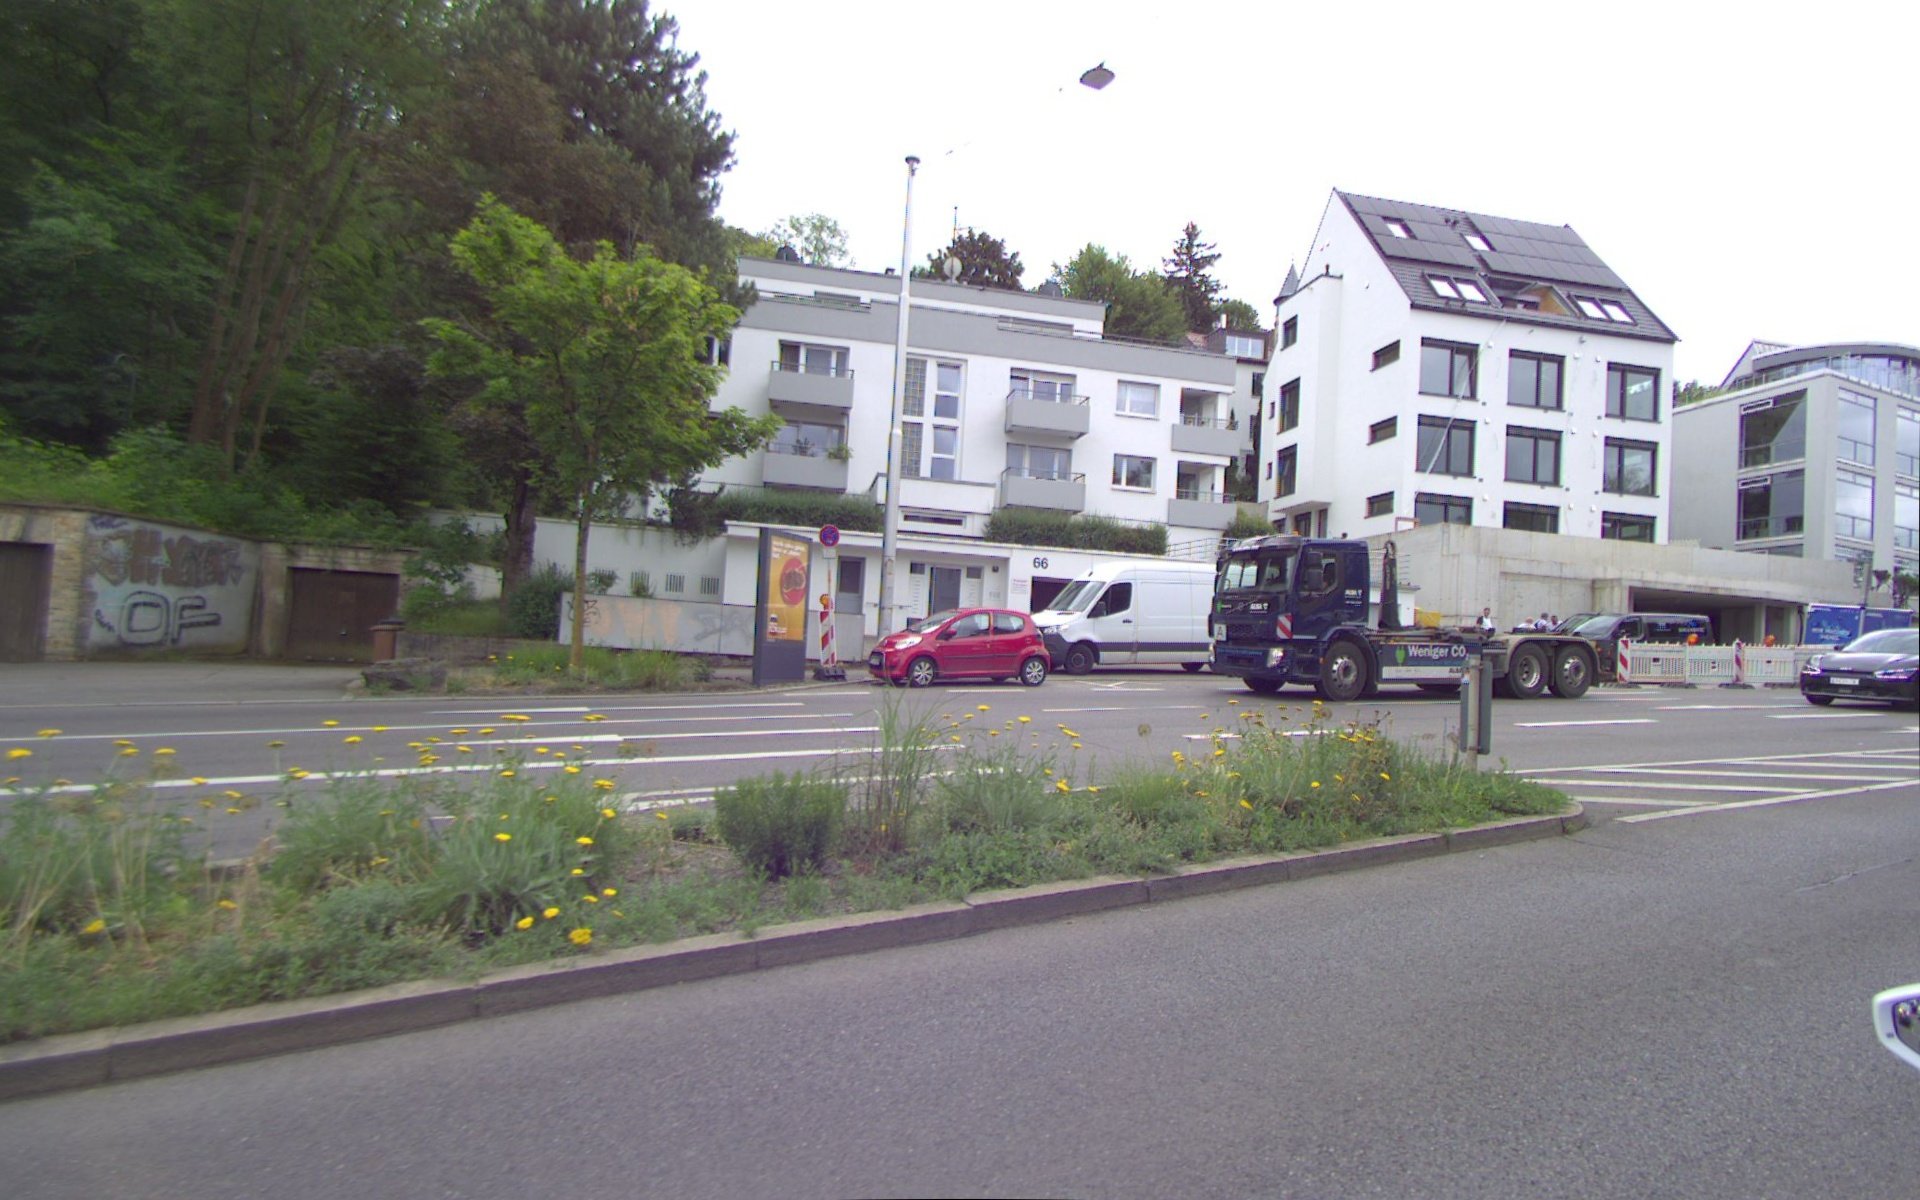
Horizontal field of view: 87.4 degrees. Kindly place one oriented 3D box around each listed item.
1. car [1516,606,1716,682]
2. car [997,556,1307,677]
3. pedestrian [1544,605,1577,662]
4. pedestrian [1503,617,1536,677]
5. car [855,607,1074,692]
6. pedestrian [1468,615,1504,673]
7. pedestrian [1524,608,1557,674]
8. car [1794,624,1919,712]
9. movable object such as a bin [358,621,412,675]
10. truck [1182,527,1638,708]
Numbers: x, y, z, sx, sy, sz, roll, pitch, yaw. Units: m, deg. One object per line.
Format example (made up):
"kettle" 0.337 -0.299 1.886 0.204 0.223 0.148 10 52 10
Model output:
"car" 18.439 1.212 28.246 5.136 1.993 1.981 1 0 -19
"car" 4.666 0.410 24.036 7.317 2.602 2.226 1 0 -24
"pedestrian" 17.997 0.987 30.105 0.662 1.662 0.672 2 2 19
"pedestrian" 16.169 1.356 29.030 0.662 1.662 0.672 2 2 19
"car" 0.098 0.898 19.122 3.877 1.485 1.615 1 0 -28
"pedestrian" 15.564 1.285 29.718 0.659 1.662 0.627 2 2 -7
"pedestrian" 17.107 1.196 29.608 0.662 1.865 0.672 2 2 19
"car" 18.567 1.268 19.530 4.420 1.516 1.692 1 0 -22
"movable object such as a bin" -11.591 0.967 20.274 0.716 1.025 0.641 2 1 -3
"truck" 8.944 0.345 19.791 8.850 3.011 2.954 1 0 -23
